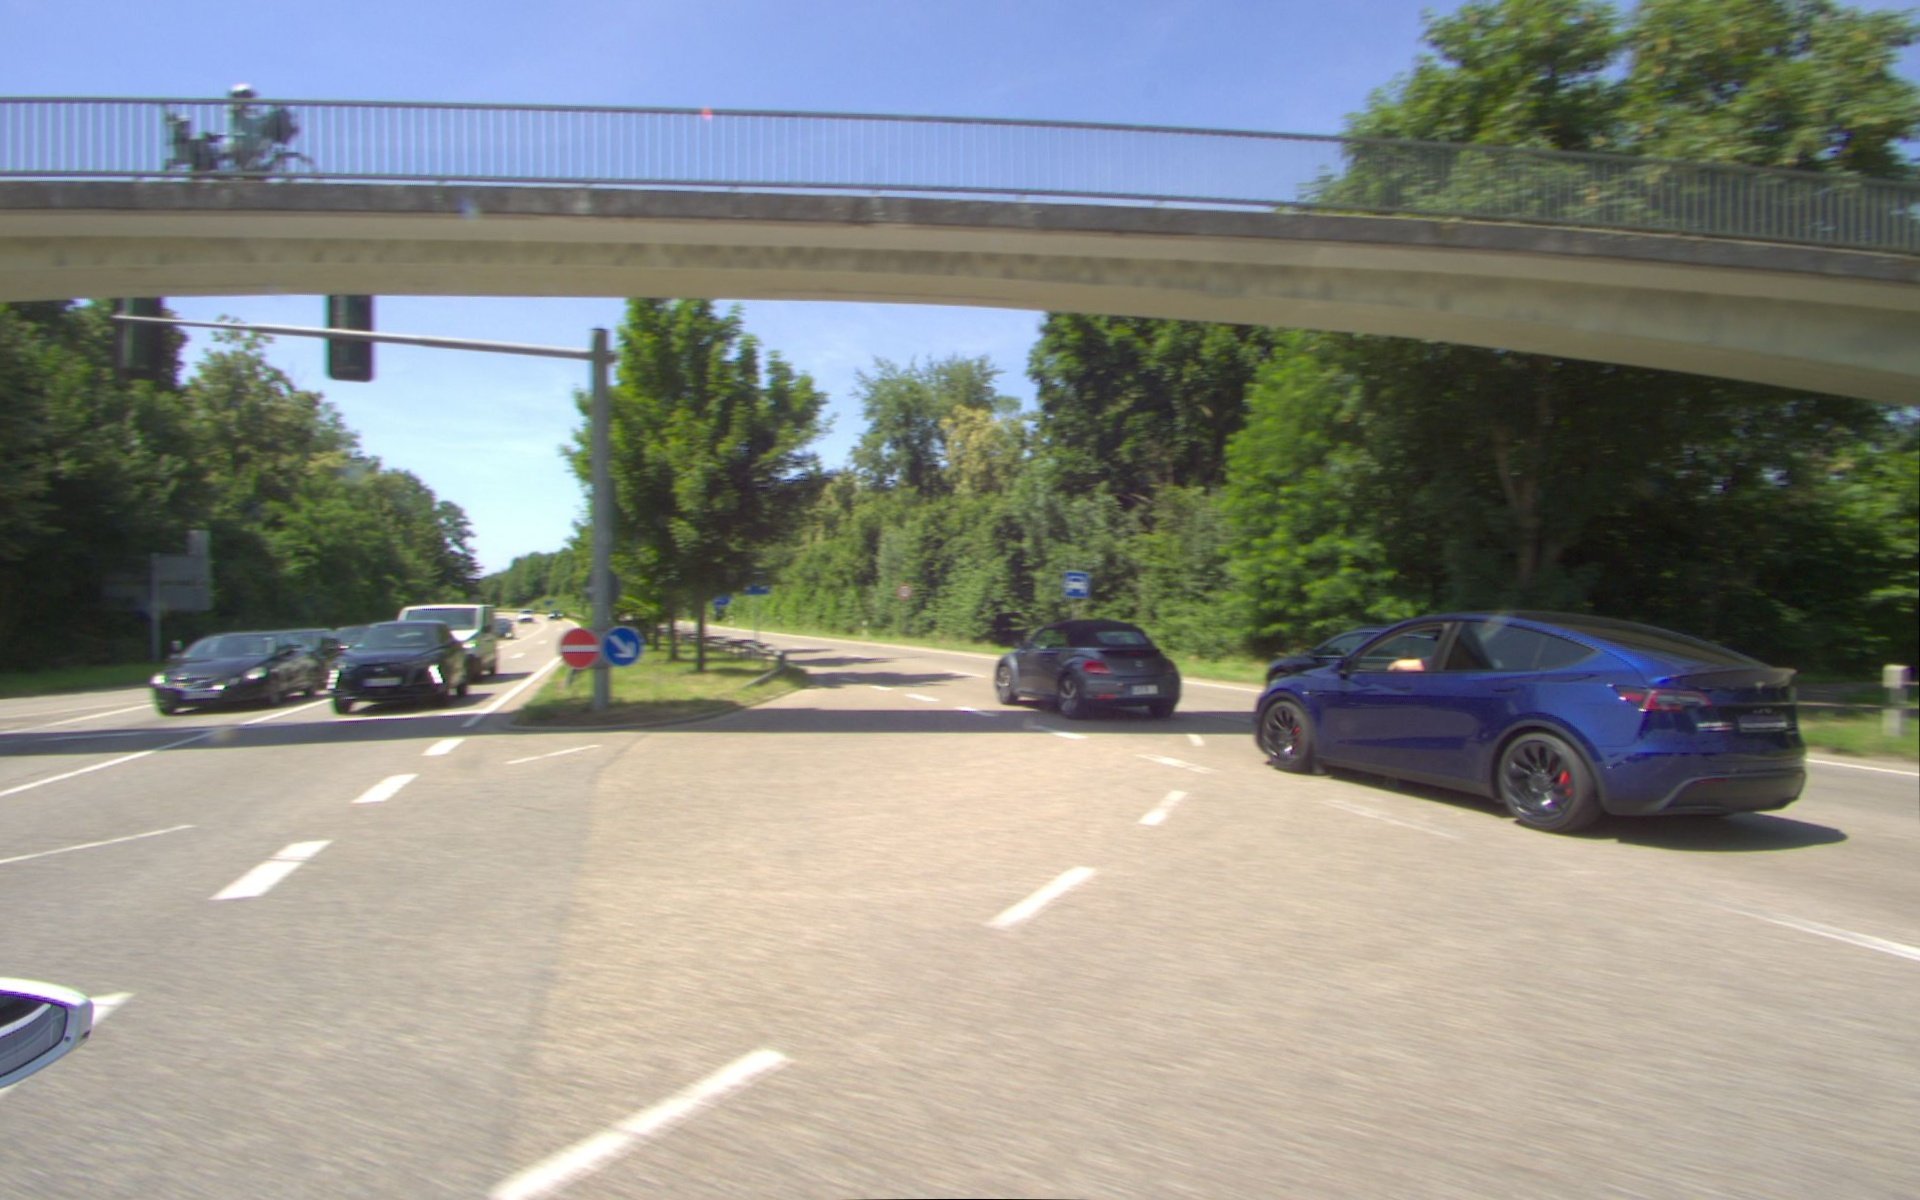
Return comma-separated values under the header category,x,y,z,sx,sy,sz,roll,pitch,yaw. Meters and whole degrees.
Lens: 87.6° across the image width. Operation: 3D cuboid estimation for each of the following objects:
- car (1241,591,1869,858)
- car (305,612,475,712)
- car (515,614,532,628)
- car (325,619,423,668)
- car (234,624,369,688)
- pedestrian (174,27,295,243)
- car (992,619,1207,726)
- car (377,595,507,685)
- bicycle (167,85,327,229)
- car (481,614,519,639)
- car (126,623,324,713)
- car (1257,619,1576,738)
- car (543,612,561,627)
category,x,y,z,sx,sy,sz,roll,pitch,yaw
car,4.615,0.845,8.703,1.875,1.665,4.509,2,-1,-20
car,-10.248,1.044,18.342,1.965,1.543,4.019,-2,0,-19
car,-59.158,2.910,135.800,1.967,1.772,3.989,2,-2,-22
car,-18.774,1.353,32.271,1.980,1.479,4.046,0,-1,-19
car,-17.000,1.388,26.095,1.980,1.479,4.046,-1,-1,-19
pedestrian,-8.748,-5.577,12.111,0.769,2.167,0.932,-2,-1,-4
car,2.099,1.061,16.253,1.874,1.497,3.930,1,-1,-19
car,-13.132,0.965,25.768,2.177,2.019,5.476,-1,-1,-19
bicycle,-8.444,-5.244,11.893,1.502,1.493,0.470,-2,-1,-4
car,-31.924,1.831,69.630,1.980,1.622,4.046,-1,-1,-19
car,-14.040,1.221,19.433,1.980,1.479,4.046,-1,-1,-19
car,6.618,1.074,15.135,1.874,1.496,4.370,2,-1,-19
car,-59.890,2.905,146.900,1.971,2.039,3.981,2,-2,-29
